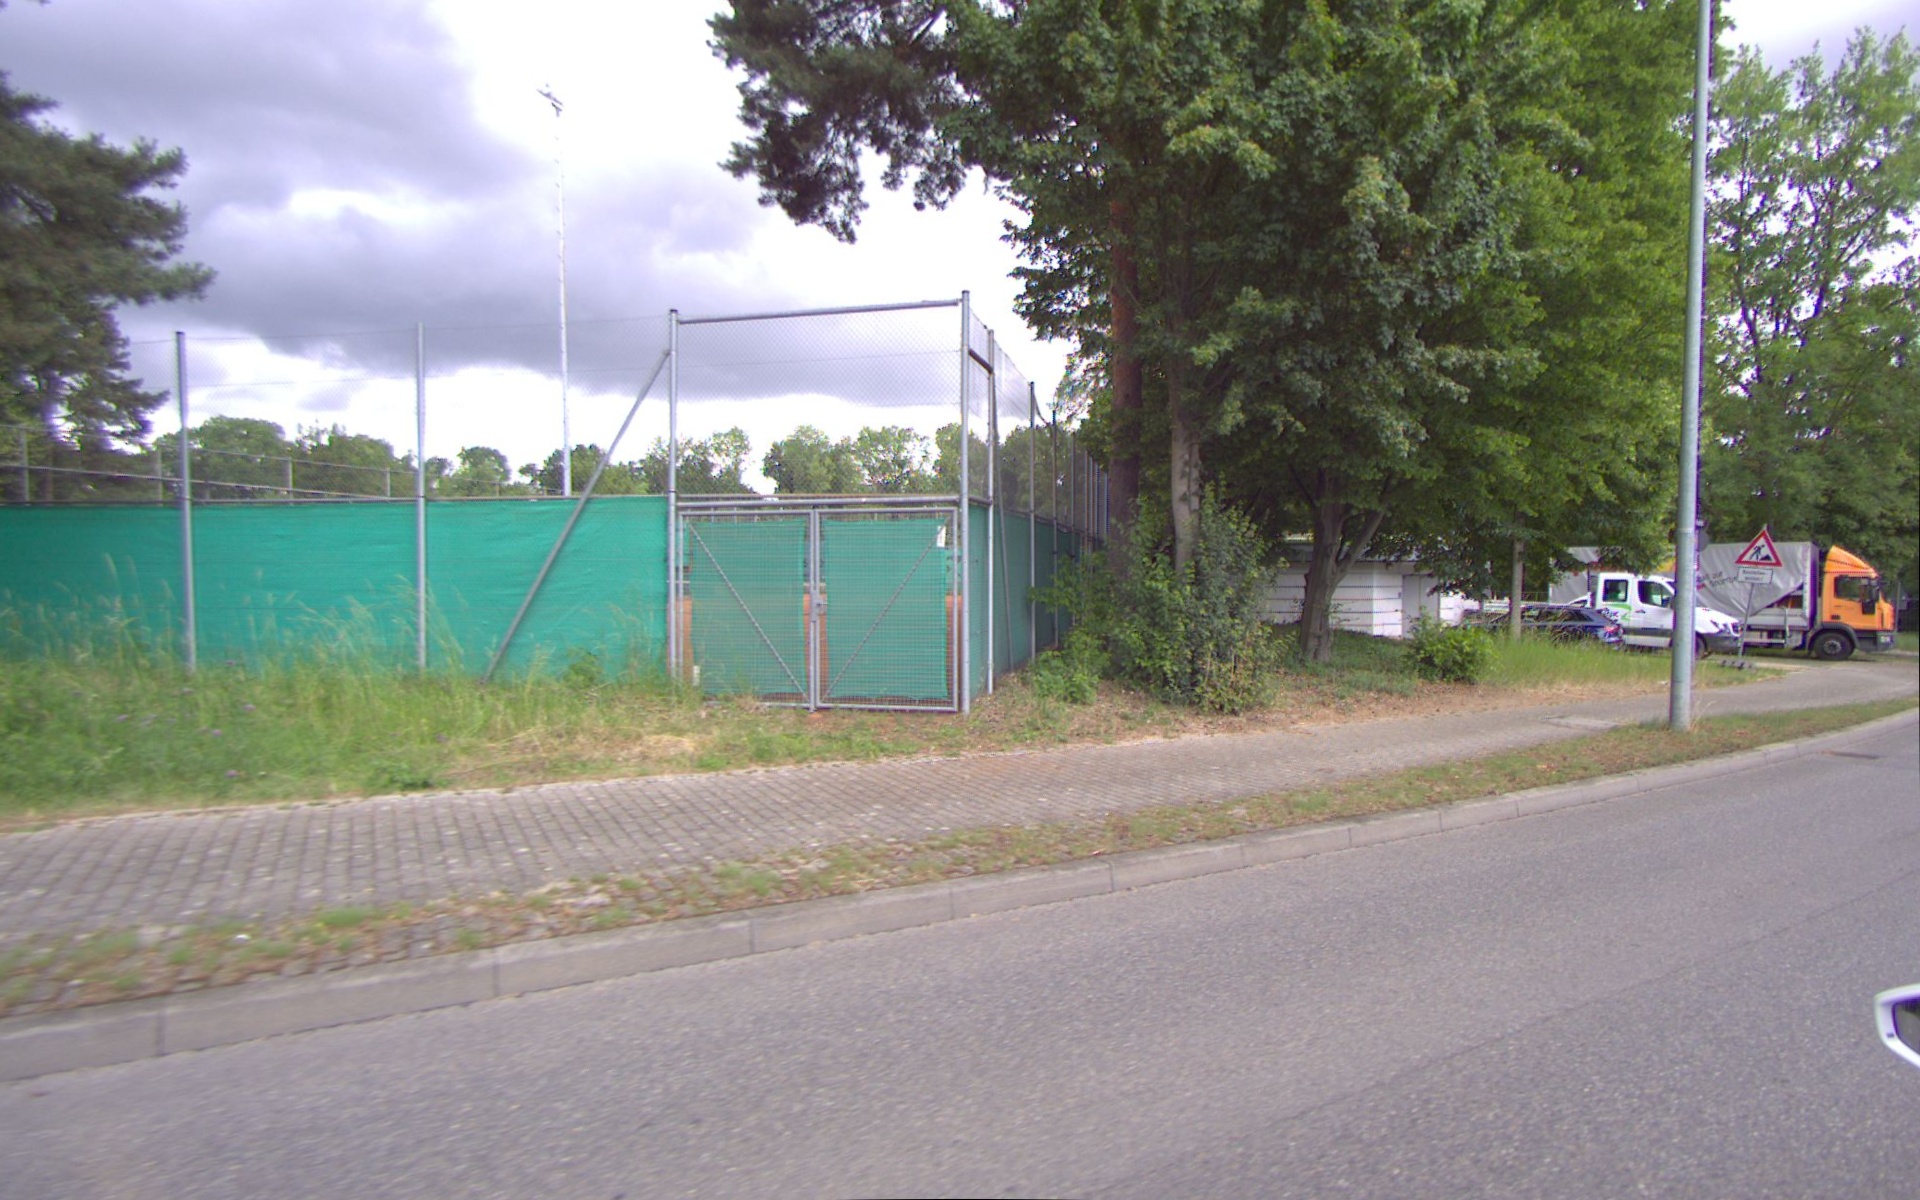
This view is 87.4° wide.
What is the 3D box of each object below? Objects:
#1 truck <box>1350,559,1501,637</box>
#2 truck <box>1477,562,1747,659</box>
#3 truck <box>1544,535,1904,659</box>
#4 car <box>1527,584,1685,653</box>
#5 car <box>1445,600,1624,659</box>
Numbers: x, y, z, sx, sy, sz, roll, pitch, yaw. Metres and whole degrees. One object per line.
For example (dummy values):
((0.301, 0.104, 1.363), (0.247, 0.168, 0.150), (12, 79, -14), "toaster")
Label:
((20.372, -0.151, 44.018), (5.808, 3.243, 2.449), (1, 2, 29), "truck")
((19.062, 0.234, 29.668), (6.317, 2.448, 2.111), (4, 1, 44), "truck")
((24.837, -0.191, 33.221), (2.548, 3.578, 9.139), (1, 1, -44), "truck")
((20.774, 0.532, 32.406), (3.944, 1.935, 1.771), (4, 3, 44), "car")
((15.290, 0.765, 26.810), (3.937, 1.344, 1.711), (2, -1, 38), "car")
